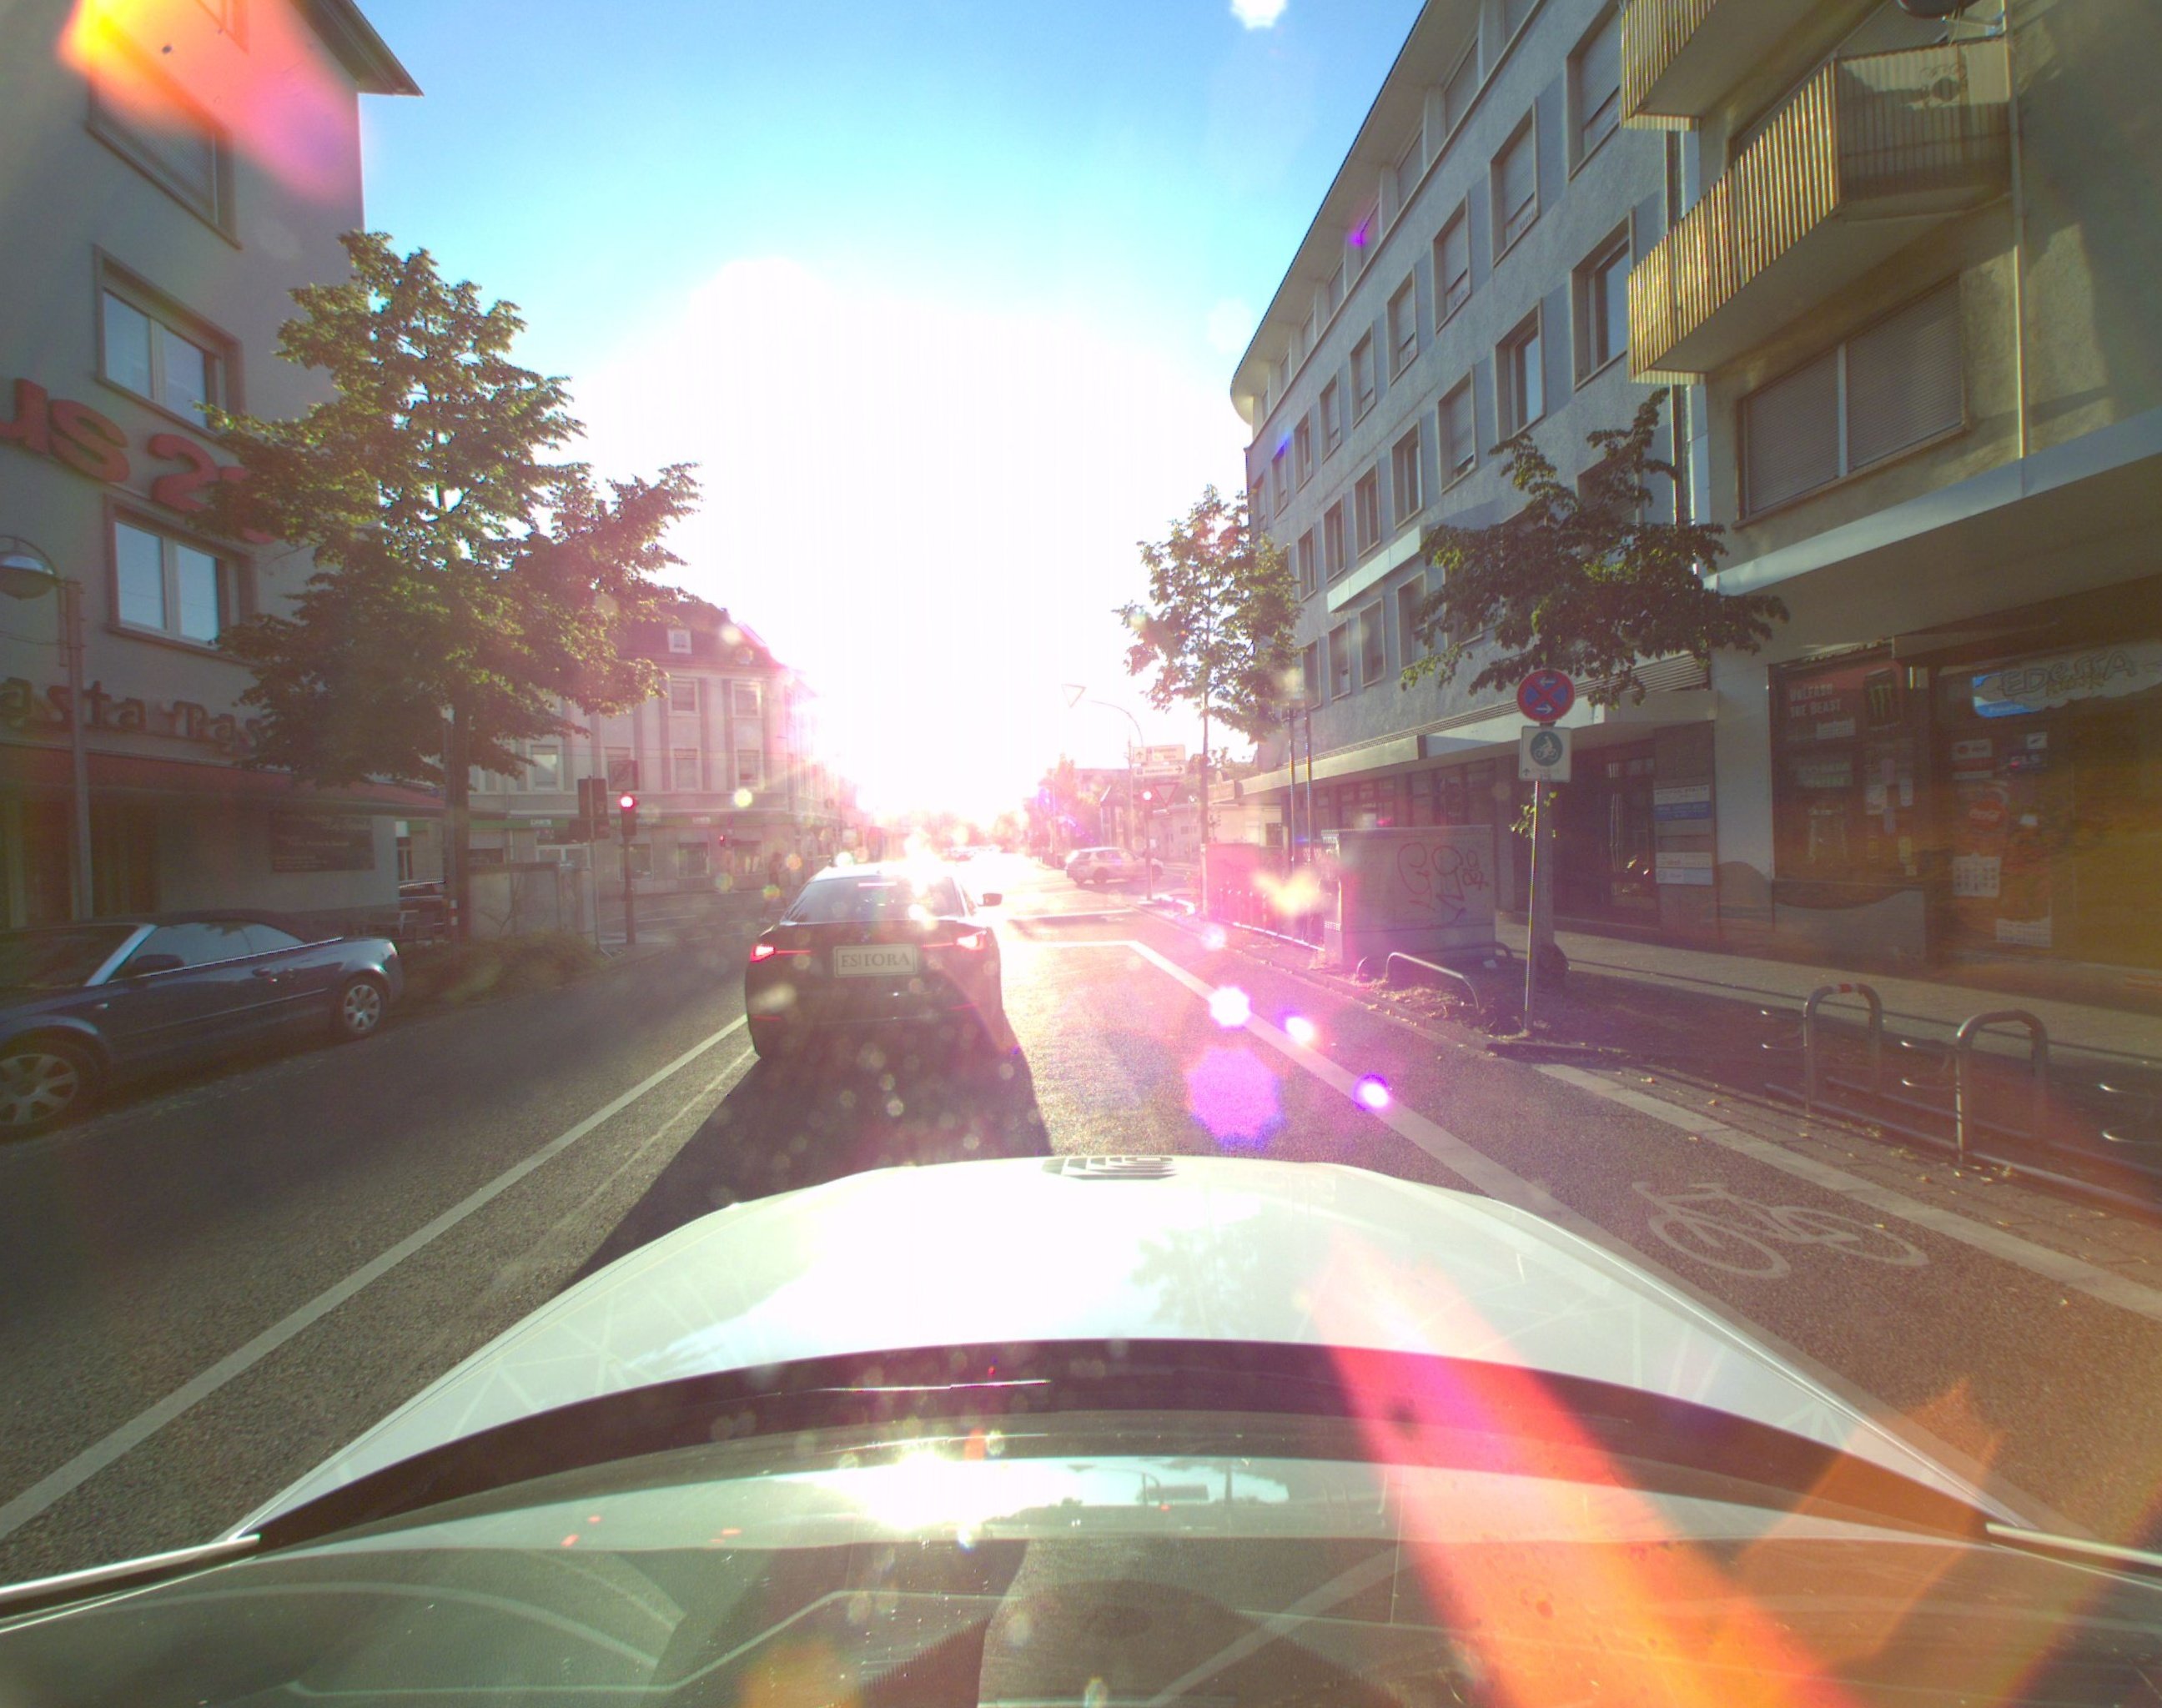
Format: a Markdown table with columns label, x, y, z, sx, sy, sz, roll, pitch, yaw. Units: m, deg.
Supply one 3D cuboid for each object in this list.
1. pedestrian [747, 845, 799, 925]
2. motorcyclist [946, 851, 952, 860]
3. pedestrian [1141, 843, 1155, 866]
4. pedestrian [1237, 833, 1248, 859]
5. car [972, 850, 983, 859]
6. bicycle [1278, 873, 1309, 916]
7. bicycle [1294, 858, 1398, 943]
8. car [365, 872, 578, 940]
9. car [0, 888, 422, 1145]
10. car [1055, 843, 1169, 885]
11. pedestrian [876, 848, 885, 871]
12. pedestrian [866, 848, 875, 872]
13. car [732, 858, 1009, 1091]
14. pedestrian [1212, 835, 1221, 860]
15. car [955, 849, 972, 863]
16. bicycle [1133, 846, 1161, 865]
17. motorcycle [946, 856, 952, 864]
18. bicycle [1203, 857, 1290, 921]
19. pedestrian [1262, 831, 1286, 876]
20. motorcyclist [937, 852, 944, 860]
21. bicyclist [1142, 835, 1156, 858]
| label | x | y | z | sx | sy | sz | roll | pitch | yaw |
| --- | --- | --- | --- | --- | --- | --- | --- | --- | --- |
| pedestrian | -7.572 | 0.743 | 20.003 | 1.006 | 1.860 | 0.634 | -5 | 2 | -27 |
| motorcyclist | -15.382 | 0.194 | 95.049 | 0.574 | 0.995 | 0.701 | -1 | 0 | -6 |
| pedestrian | 4.468 | 0.017 | 54.291 | 0.735 | 1.529 | 0.469 | -1 | 0 | -21 |
| pedestrian | 10.860 | -0.516 | 54.845 | 0.481 | 1.734 | 0.526 | 0 | 0 | -31 |
| car | -18.373 | 0.013 | 144.682 | 1.816 | 1.519 | 3.992 | -3 | 1 | -6 |
| bicycle | 4.209 | 0.786 | 16.176 | 0.249 | 0.796 | 1.114 | -1 | 0 | -4 |
| bicycle | 3.924 | 0.677 | 12.090 | 1.438 | 1.220 | 0.383 | -1 | 0 | -5 |
| car | -16.404 | 1.342 | 22.248 | 4.436 | 1.473 | 1.800 | -2 | 1 | -32 |
| car | -7.616 | 1.125 | 6.354 | 1.721 | 1.415 | 4.270 | -4 | 0 | -7 |
| car | 1.312 | 0.393 | 33.679 | 4.336 | 1.498 | 1.980 | -3 | 1 | -32 |
| pedestrian | -16.492 | 0.477 | 67.015 | 0.675 | 1.876 | 0.616 | -1 | 0 | -7 |
| pedestrian | -17.205 | 0.485 | 66.623 | 0.642 | 1.876 | 0.630 | -1 | 0 | -7 |
| car | -1.615 | 0.781 | 7.410 | 1.735 | 1.428 | 4.213 | -1 | 0 | -7 |
| pedestrian | 9.246 | -0.438 | 55.473 | 0.445 | 1.734 | 0.429 | 0 | 0 | -31 |
| car | -13.783 | 0.247 | 95.795 | 1.816 | 1.519 | 3.992 | -3 | 1 | -6 |
| bicycle | 4.324 | 0.104 | 53.530 | 0.554 | 1.159 | 2.121 | -1 | 0 | -36 |
| motorcycle | -15.387 | 0.725 | 95.159 | 0.574 | 0.915 | 2.196 | -1 | 0 | -6 |
| bicycle | 3.246 | 0.678 | 15.994 | 1.610 | 1.171 | 0.318 | -2 | 0 | -5 |
| pedestrian | 8.248 | -0.021 | 34.759 | 0.828 | 1.841 | 0.683 | -2 | 0 | 24 |
| motorcyclist | -16.469 | 0.202 | 95.507 | 0.574 | 0.915 | 2.196 | -1 | 0 | -6 |
| bicyclist | 4.443 | -0.466 | 53.351 | 0.554 | 1.481 | 0.715 | -1 | -1 | -36 |
